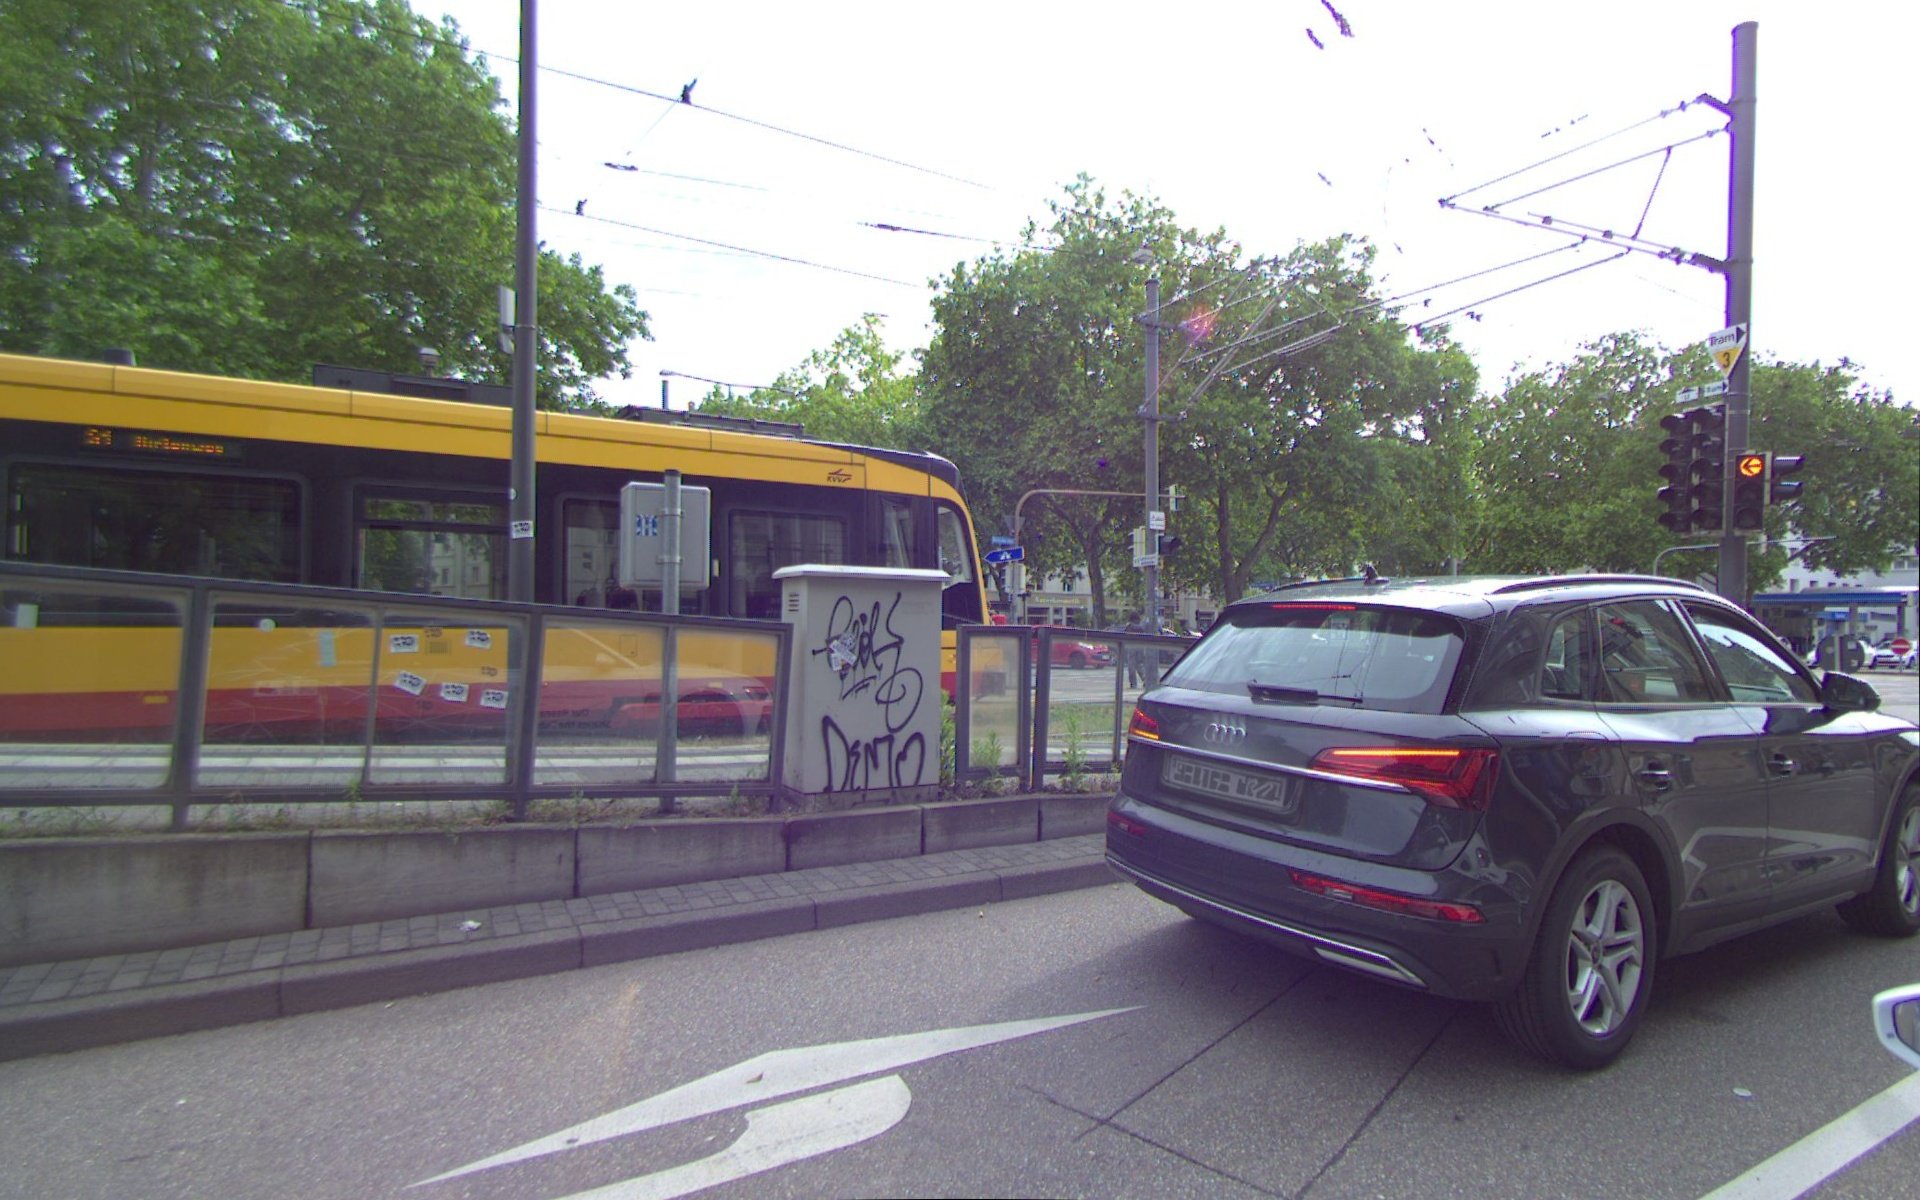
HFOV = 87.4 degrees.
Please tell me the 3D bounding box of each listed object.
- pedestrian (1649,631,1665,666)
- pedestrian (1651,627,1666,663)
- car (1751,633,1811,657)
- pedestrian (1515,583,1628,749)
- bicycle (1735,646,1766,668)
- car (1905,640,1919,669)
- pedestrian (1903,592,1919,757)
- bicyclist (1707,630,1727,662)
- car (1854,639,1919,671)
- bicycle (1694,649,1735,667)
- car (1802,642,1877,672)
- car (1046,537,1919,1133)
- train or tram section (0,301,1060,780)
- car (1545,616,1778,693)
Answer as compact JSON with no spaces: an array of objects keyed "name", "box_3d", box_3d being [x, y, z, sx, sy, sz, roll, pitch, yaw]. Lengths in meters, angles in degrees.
[{"name":"pedestrian","box_3d":[36.051,2.501,51.934,0.541,1.808,0.375,2,0,1]},{"name":"pedestrian","box_3d":[36.071,2.332,51.881,0.440,1.808,0.375,2,0,3]},{"name":"car","box_3d":[56.686,3.093,69.366,3.953,1.550,1.984,2,0,-30]},{"name":"pedestrian","box_3d":[6.526,0.679,10.736,0.722,1.683,0.750,2,0,-30]},{"name":"bicycle","box_3d":[38.892,2.817,49.417,1.914,1.031,0.519,2,0,-30]},{"name":"car","box_3d":[54.778,3.061,56.136,3.792,1.578,1.885,2,0,-30]},{"name":"pedestrian","box_3d":[11.193,0.842,11.117,0.999,1.837,0.582,2,0,38]},{"name":"bicyclist","box_3d":[38.066,2.322,50.498,0.611,1.588,0.585,2,0,-30]},{"name":"car","box_3d":[48.843,2.868,52.624,3.792,1.578,1.885,2,0,-30]},{"name":"bicycle","box_3d":[37.871,2.892,50.428,0.644,0.783,1.682,2,0,-9]},{"name":"car","box_3d":[43.366,2.787,49.525,3.953,1.343,1.626,2,0,-31]},{"name":"car","box_3d":[2.699,0.698,4.666,4.308,1.622,1.870,2,-1,-31]},{"name":"train or tram section","box_3d":[-6.270,-0.405,10.029,15.665,3.636,3.045,2,0,-31]},{"name":"car","box_3d":[16.597,1.224,23.919,4.377,1.530,1.831,1,0,38]}]
